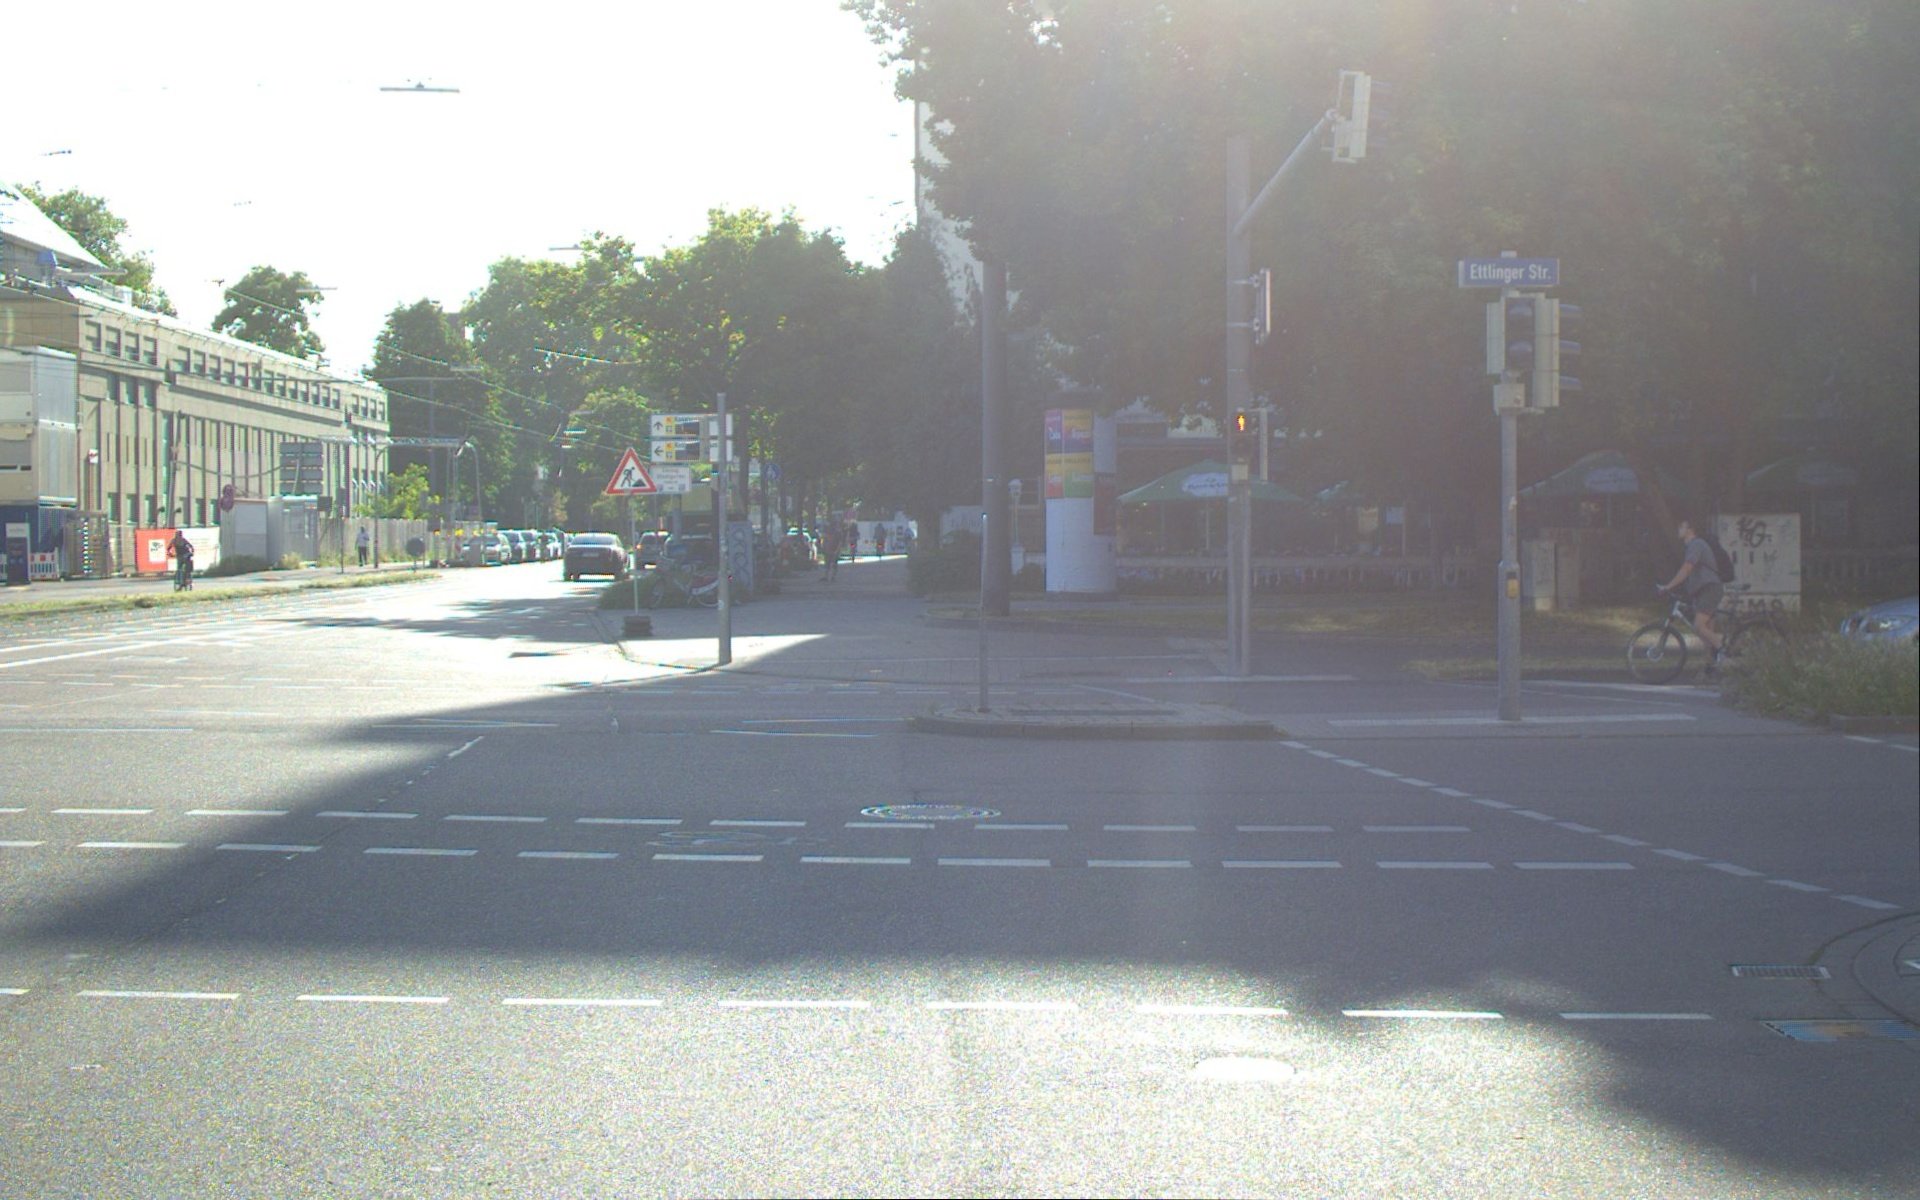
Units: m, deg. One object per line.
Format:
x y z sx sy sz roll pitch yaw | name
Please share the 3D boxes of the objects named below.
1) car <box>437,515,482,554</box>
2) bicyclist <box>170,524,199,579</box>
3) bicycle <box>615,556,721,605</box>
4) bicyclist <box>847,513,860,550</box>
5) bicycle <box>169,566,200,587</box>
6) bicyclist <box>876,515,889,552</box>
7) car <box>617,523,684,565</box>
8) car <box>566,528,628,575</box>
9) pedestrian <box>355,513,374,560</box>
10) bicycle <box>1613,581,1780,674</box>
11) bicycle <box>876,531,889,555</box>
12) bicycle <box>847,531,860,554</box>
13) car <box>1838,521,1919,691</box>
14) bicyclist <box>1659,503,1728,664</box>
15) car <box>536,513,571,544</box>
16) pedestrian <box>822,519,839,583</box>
-22.774 -2.972 156.446 1.692 1.712 4.248 1 1 -4 | car
-19.430 -1.215 86.131 0.596 1.372 0.638 1 0 -2 | bicyclist
-5.731 -0.383 67.481 2.018 0.888 0.650 -2 0 27 | bicycle
-4.860 -3.121 157.000 0.569 1.685 0.700 0 1 -1 | bicyclist
-19.432 -0.590 86.135 0.501 0.513 1.258 1 1 -1 | bicycle
-3.537 -3.033 157.074 0.569 1.685 0.700 0 1 -1 | bicyclist
-12.281 -2.247 136.813 1.892 1.560 4.807 3 1 3 | car
-11.350 -1.527 107.788 1.660 1.450 4.433 1 1 -3 | car
-25.569 -2.722 147.558 0.674 2.007 0.751 1 0 -3 | pedestrian
7.774 0.292 36.323 1.667 0.960 0.533 0 1 5 | bicycle
-3.534 -2.610 157.082 0.575 1.073 1.831 0 1 -1 | bicycle
-4.853 -2.627 156.970 0.575 1.073 1.831 0 1 -1 | bicycle
10.752 0.024 33.411 3.993 1.605 1.650 -1 1 -1 | car
7.743 -0.176 36.313 0.643 1.677 0.507 0 1 5 | bicyclist
-23.012 -4.039 194.691 1.692 1.712 4.248 1 1 -4 | car
-3.688 -1.387 97.739 0.463 1.807 0.503 -1 1 -5 | pedestrian
